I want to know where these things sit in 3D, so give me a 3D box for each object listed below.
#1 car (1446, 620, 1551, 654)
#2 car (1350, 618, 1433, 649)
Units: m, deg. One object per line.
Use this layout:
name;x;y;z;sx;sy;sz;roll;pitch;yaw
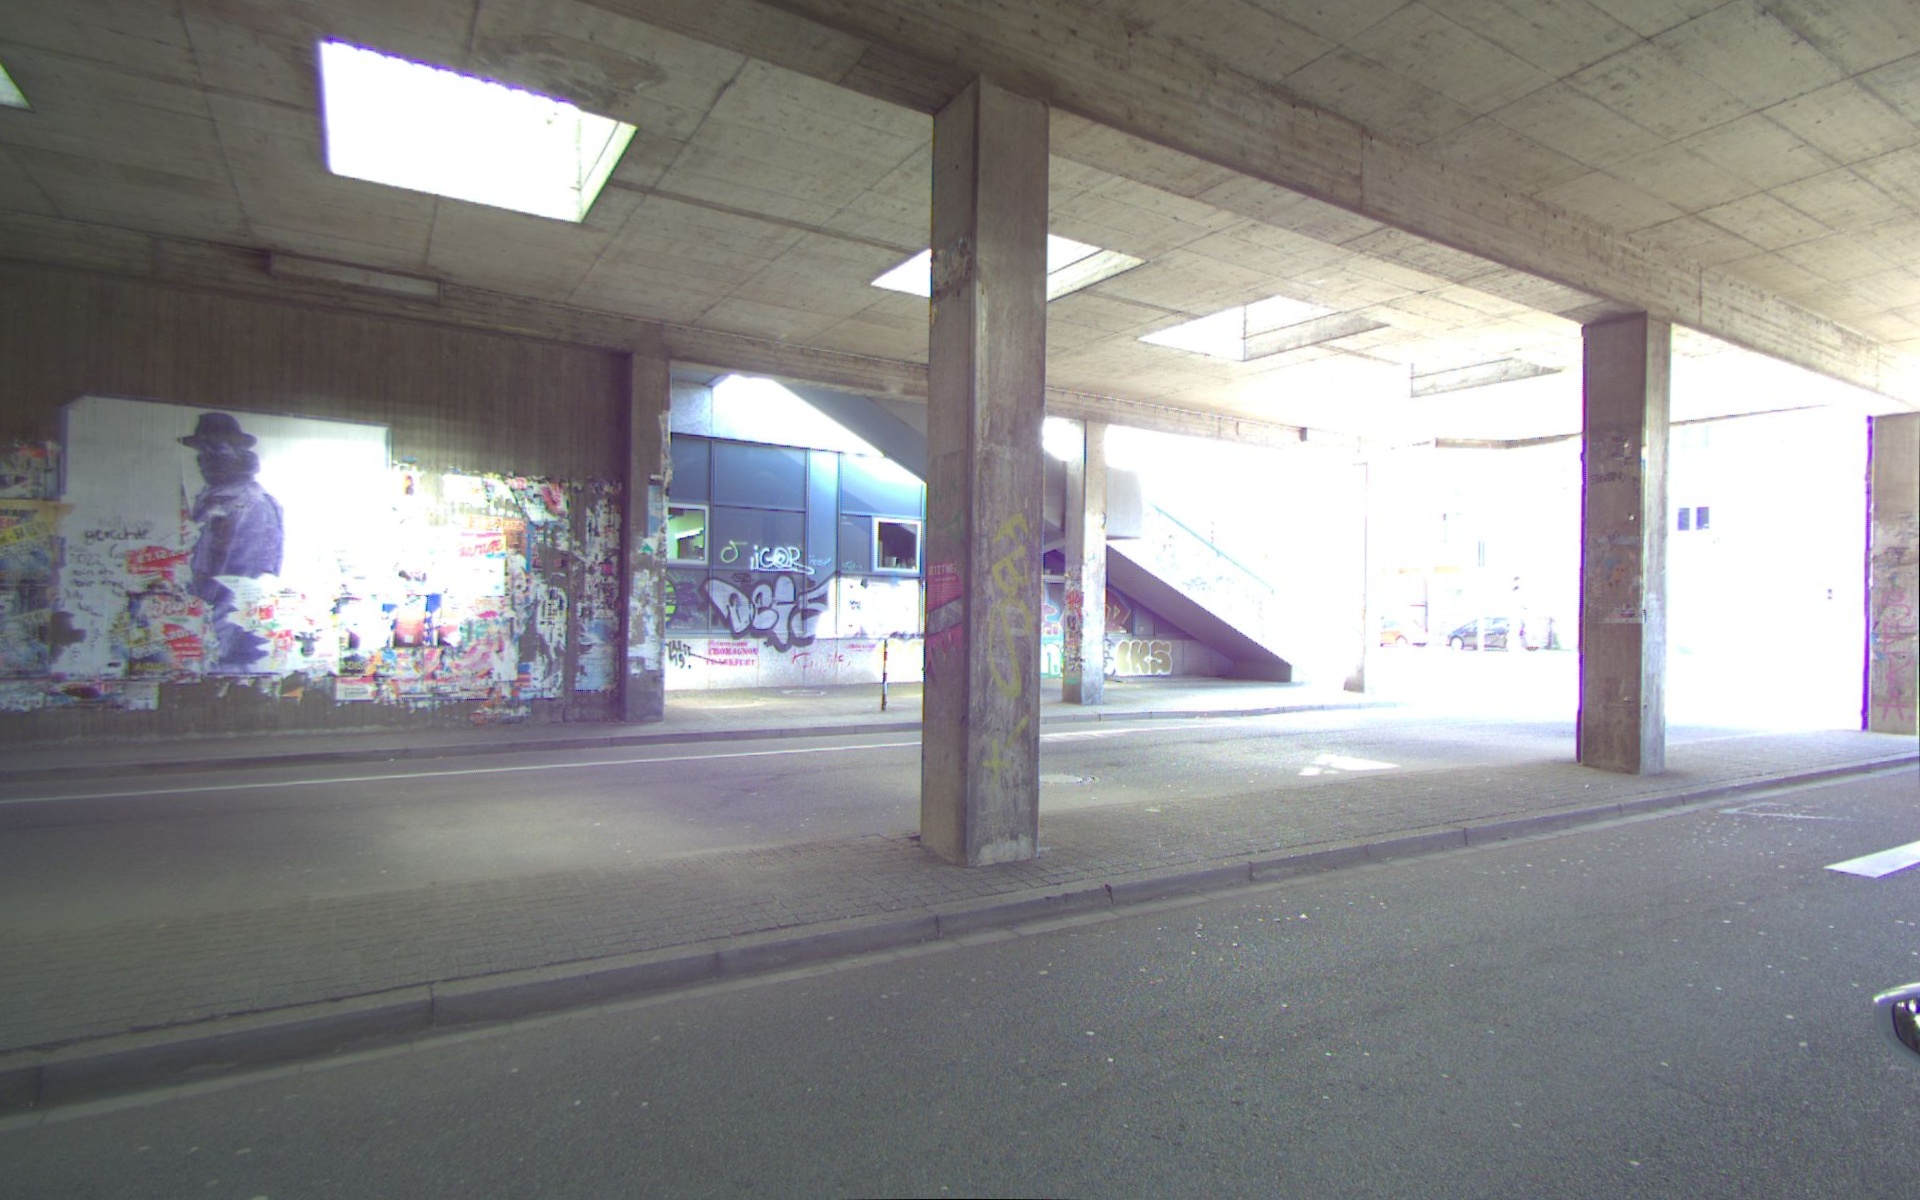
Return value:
car;25.464;1.729;47.649;1.718;1.495;4.089;2;-1;-31
car;22.552;1.752;52.605;1.730;1.495;3.741;2;-1;-31
